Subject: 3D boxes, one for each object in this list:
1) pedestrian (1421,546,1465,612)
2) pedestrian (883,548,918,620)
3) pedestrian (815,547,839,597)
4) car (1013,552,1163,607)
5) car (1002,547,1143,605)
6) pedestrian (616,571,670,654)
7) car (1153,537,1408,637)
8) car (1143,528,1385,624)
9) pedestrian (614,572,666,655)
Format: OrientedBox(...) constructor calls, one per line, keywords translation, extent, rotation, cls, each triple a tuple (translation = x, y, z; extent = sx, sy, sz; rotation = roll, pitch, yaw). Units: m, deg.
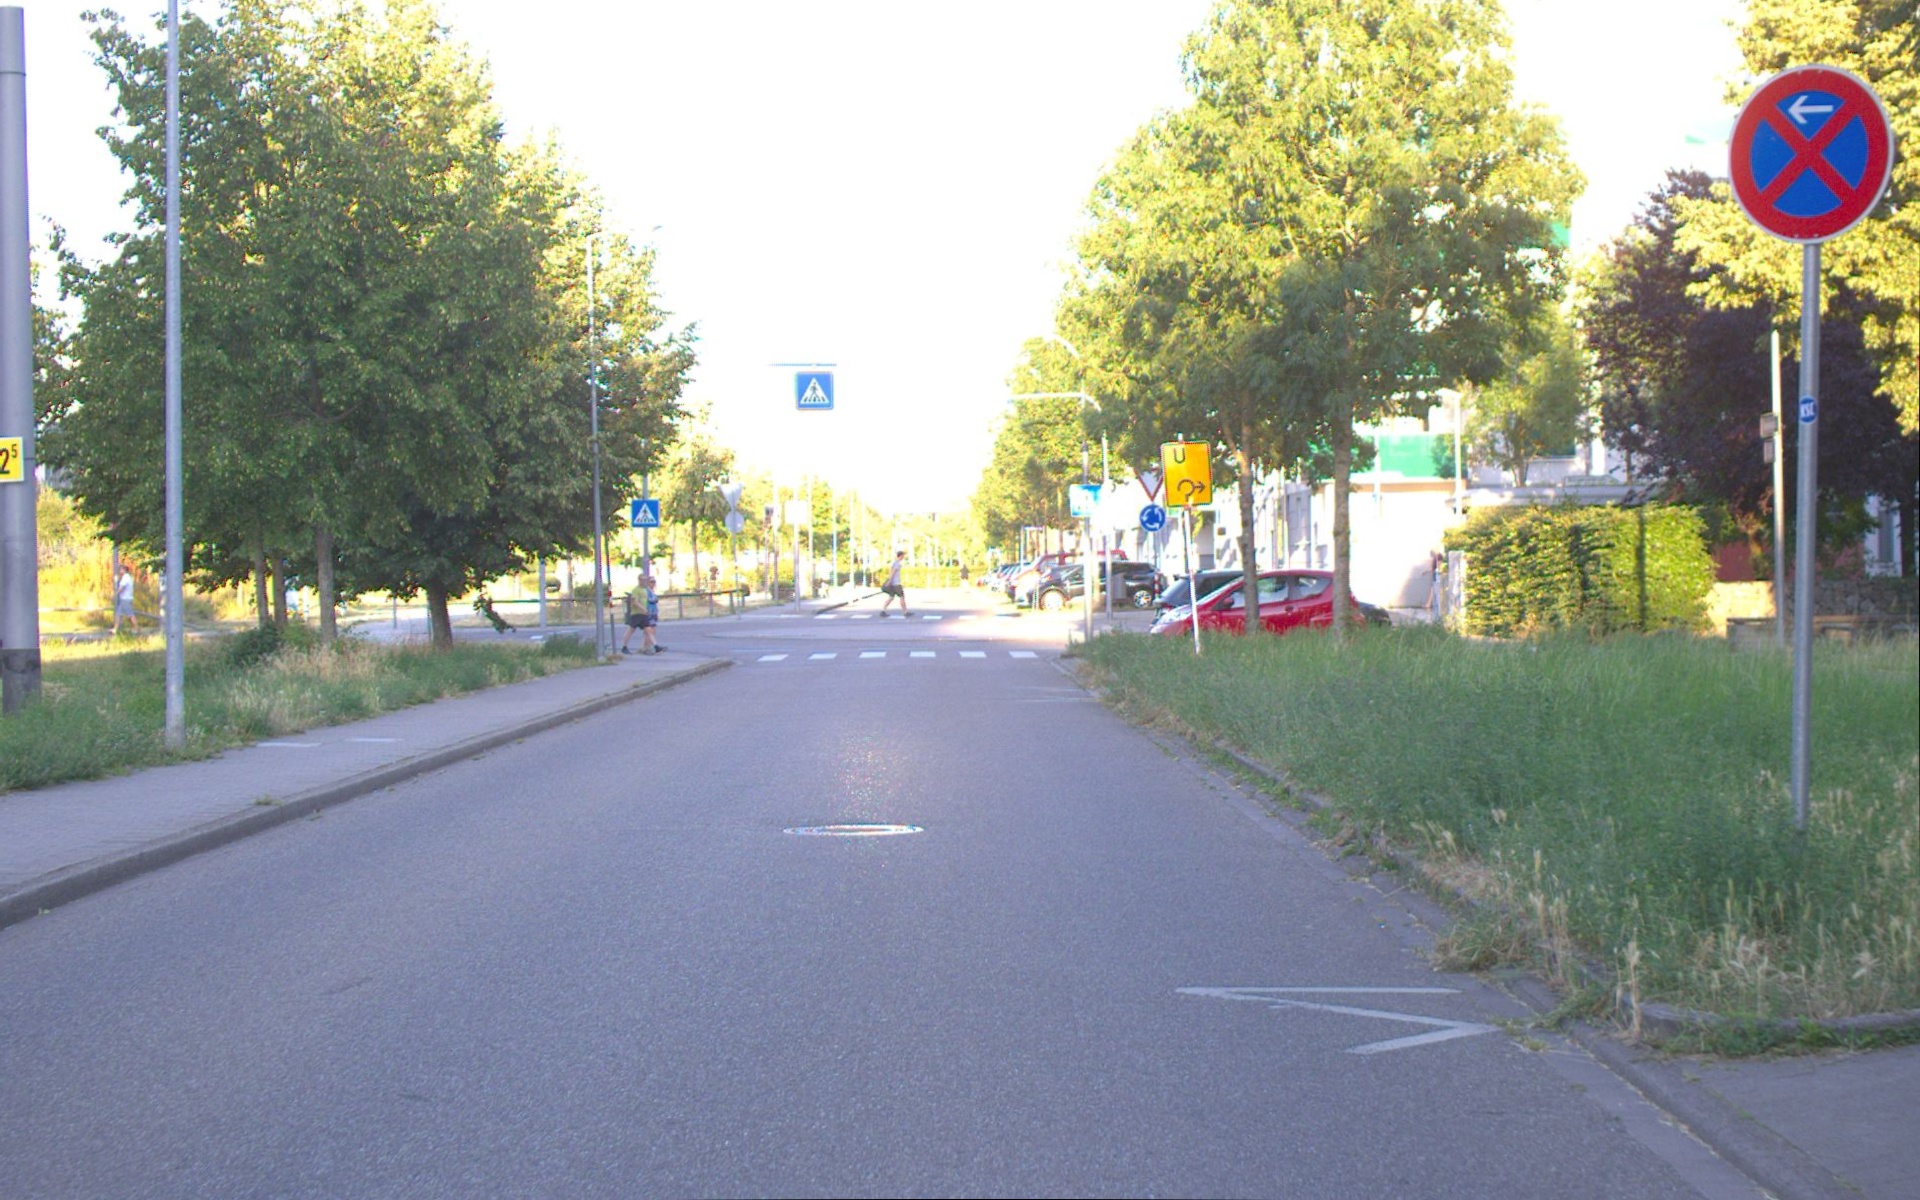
OrientedBox(translation=(13.054, -0.566, 92.997), extent=(1.003, 1.782, 0.762), rotation=(0, 0, -6), cls="pedestrian")
OrientedBox(translation=(-1.678, -0.444, 97.038), extent=(0.846, 2.007, 0.943), rotation=(-1, 0, 5), cls="pedestrian")
OrientedBox(translation=(-5.378, -1.122, 138.936), extent=(0.866, 2.007, 0.790), rotation=(-1, 0, -10), cls="pedestrian")
OrientedBox(translation=(3.887, -0.638, 104.852), extent=(4.484, 1.590, 2.000), rotation=(-1, 0, 1), cls="car")
OrientedBox(translation=(4.174, -0.900, 128.028), extent=(5.002, 2.038, 2.250), rotation=(-1, 0, -4), cls="car")
OrientedBox(translation=(-6.492, 0.252, 70.358), extent=(1.018, 1.687, 0.760), rotation=(-1, 0, -11), cls="pedestrian")
OrientedBox(translation=(5.044, -0.214, 54.408), extent=(3.802, 1.503, 1.679), rotation=(-1, 0, -2), cls="car")
OrientedBox(translation=(5.028, -0.401, 57.163), extent=(3.802, 1.503, 1.679), rotation=(-1, 0, -2), cls="car")
OrientedBox(translation=(-6.628, 0.270, 71.156), extent=(0.983, 1.687, 0.700), rotation=(-1, 0, -11), cls="pedestrian")
